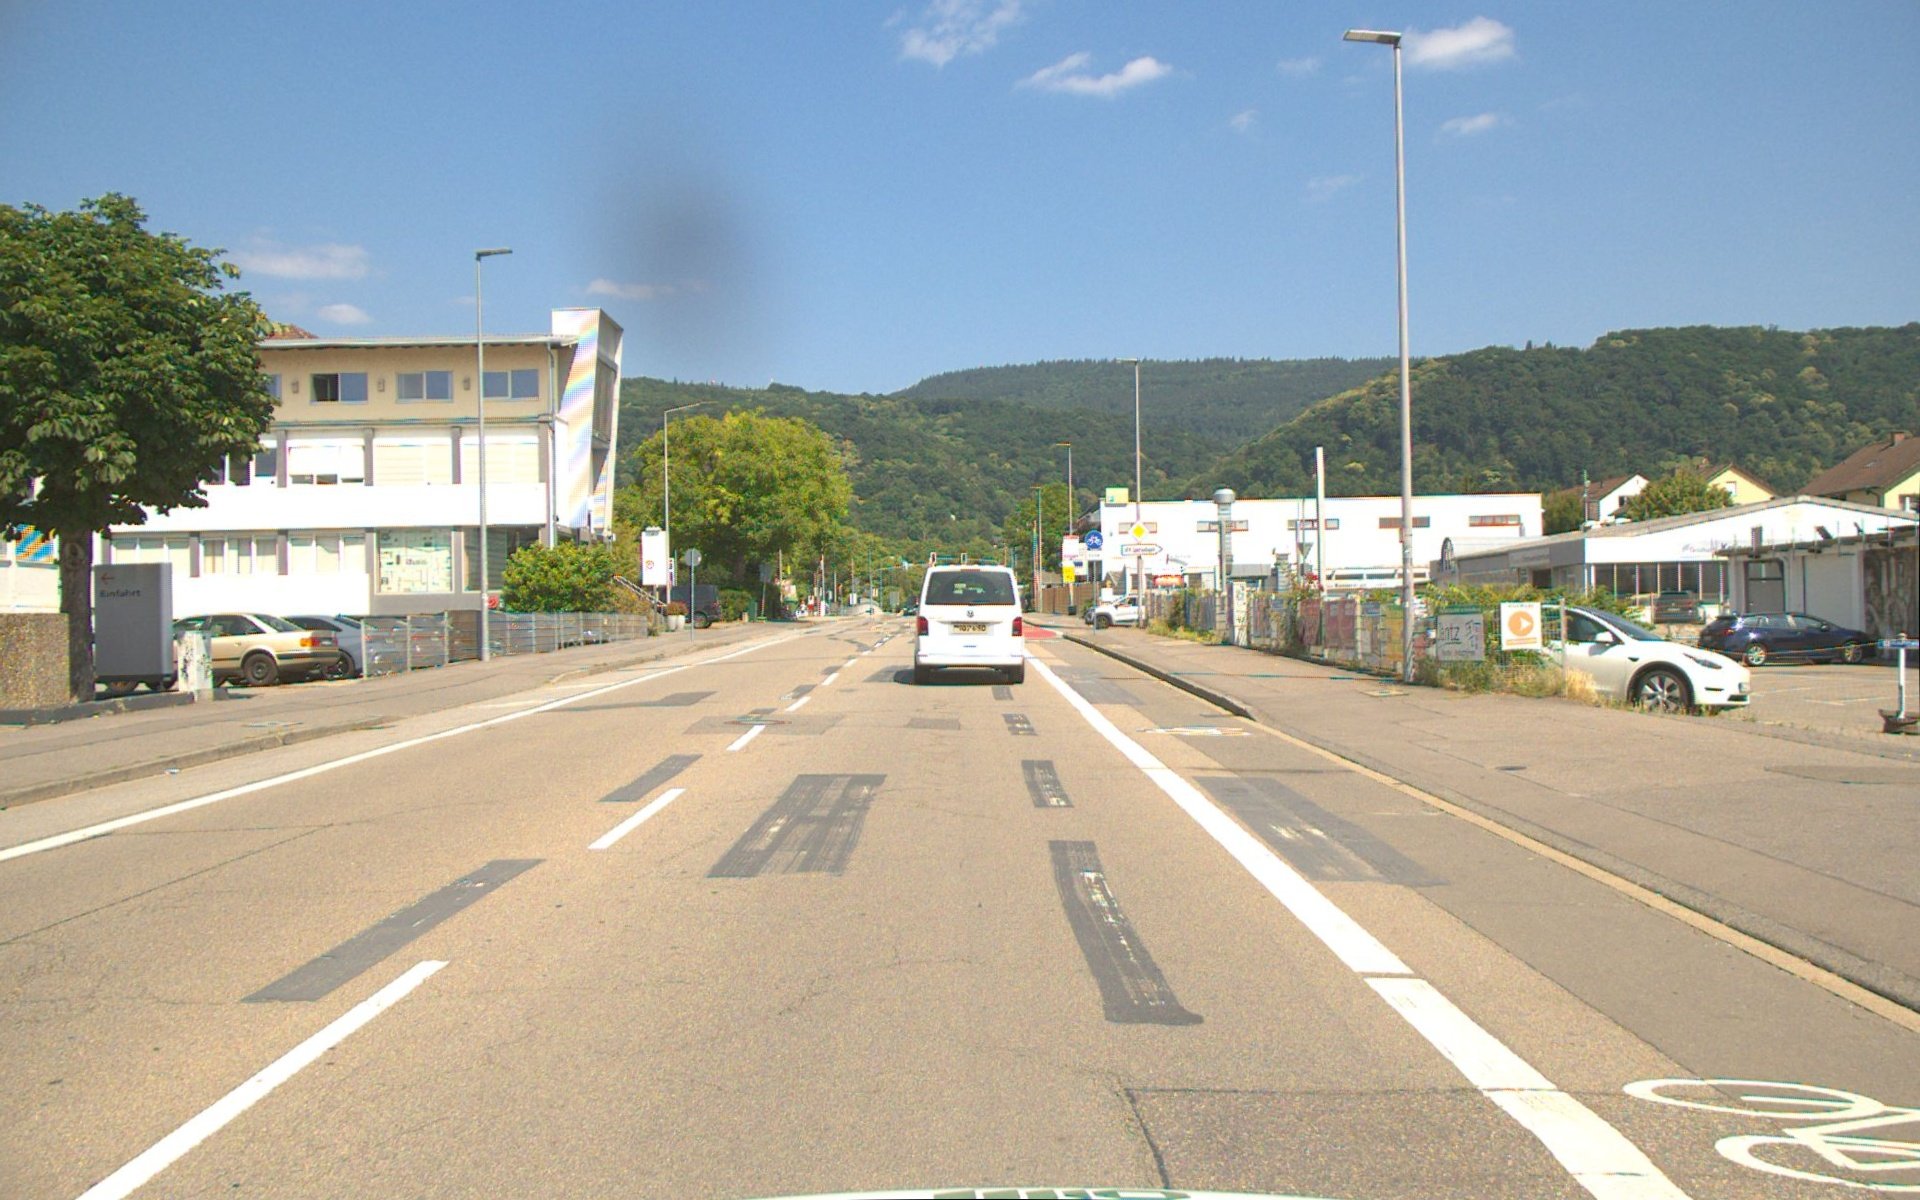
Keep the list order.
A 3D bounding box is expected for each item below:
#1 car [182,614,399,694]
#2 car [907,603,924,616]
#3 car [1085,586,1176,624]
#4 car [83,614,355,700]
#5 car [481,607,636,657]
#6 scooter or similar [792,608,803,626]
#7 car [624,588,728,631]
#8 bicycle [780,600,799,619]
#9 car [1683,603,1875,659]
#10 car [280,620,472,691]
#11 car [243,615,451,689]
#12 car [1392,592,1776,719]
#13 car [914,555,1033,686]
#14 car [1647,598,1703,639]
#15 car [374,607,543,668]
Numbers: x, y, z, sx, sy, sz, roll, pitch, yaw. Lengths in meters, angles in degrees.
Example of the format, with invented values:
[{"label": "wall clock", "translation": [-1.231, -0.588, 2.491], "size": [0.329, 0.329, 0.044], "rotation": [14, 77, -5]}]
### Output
[{"label": "car", "translation": [-14.089, 1.156, 34.995], "size": [3.814, 1.470, 1.821], "rotation": [3, -3, -5]}, {"label": "car", "translation": [-5.342, 1.147, 199.641], "size": [1.953, 1.394, 4.325], "rotation": [-2, 0, -1]}, {"label": "car", "translation": [6.948, 0.199, 67.690], "size": [3.589, 1.510, 1.728], "rotation": [-1, 0, 2]}, {"label": "car", "translation": [-14.427, 1.086, 32.394], "size": [4.433, 1.483, 1.899], "rotation": [-2, 0, -2]}, {"label": "car", "translation": [-13.342, 1.055, 55.203], "size": [4.643, 1.507, 2.047], "rotation": [-2, 0, -2]}, {"label": "scooter or similar", "translation": [-10.489, 1.083, 106.708], "size": [0.634, 1.147, 1.620], "rotation": [2, 0, -7]}, {"label": "car", "translation": [-12.833, 0.424, 75.004], "size": [4.477, 1.898, 2.090], "rotation": [-1, 0, -6]}, {"label": "bicycle", "translation": [-10.631, 0.602, 103.065], "size": [1.006, 1.137, 2.764], "rotation": [1, 0, -3]}, {"label": "car", "translation": [22.460, 0.837, 45.490], "size": [4.238, 1.422, 2.120], "rotation": [-1, 0, 3]}, {"label": "car", "translation": [-14.023, 1.355, 39.906], "size": [3.908, 1.516, 1.857], "rotation": [3, -3, -4]}, {"label": "car", "translation": [-13.712, 1.179, 37.184], "size": [3.907, 1.468, 1.858], "rotation": [3, -3, -3]}, {"label": "car", "translation": [9.175, 0.822, 24.582], "size": [4.958, 1.650, 2.011], "rotation": [-1, -5, 43]}, {"label": "car", "translation": [0.160, 0.350, 29.257], "size": [1.895, 2.096, 4.542], "rotation": [1, 0, -2]}, {"label": "car", "translation": [32.168, 0.815, 74.362], "size": [1.956, 1.676, 3.994], "rotation": [0, 1, 29]}, {"label": "car", "translation": [-14.247, 1.040, 47.154], "size": [4.212, 1.586, 1.994], "rotation": [-2, 0, -4]}]
